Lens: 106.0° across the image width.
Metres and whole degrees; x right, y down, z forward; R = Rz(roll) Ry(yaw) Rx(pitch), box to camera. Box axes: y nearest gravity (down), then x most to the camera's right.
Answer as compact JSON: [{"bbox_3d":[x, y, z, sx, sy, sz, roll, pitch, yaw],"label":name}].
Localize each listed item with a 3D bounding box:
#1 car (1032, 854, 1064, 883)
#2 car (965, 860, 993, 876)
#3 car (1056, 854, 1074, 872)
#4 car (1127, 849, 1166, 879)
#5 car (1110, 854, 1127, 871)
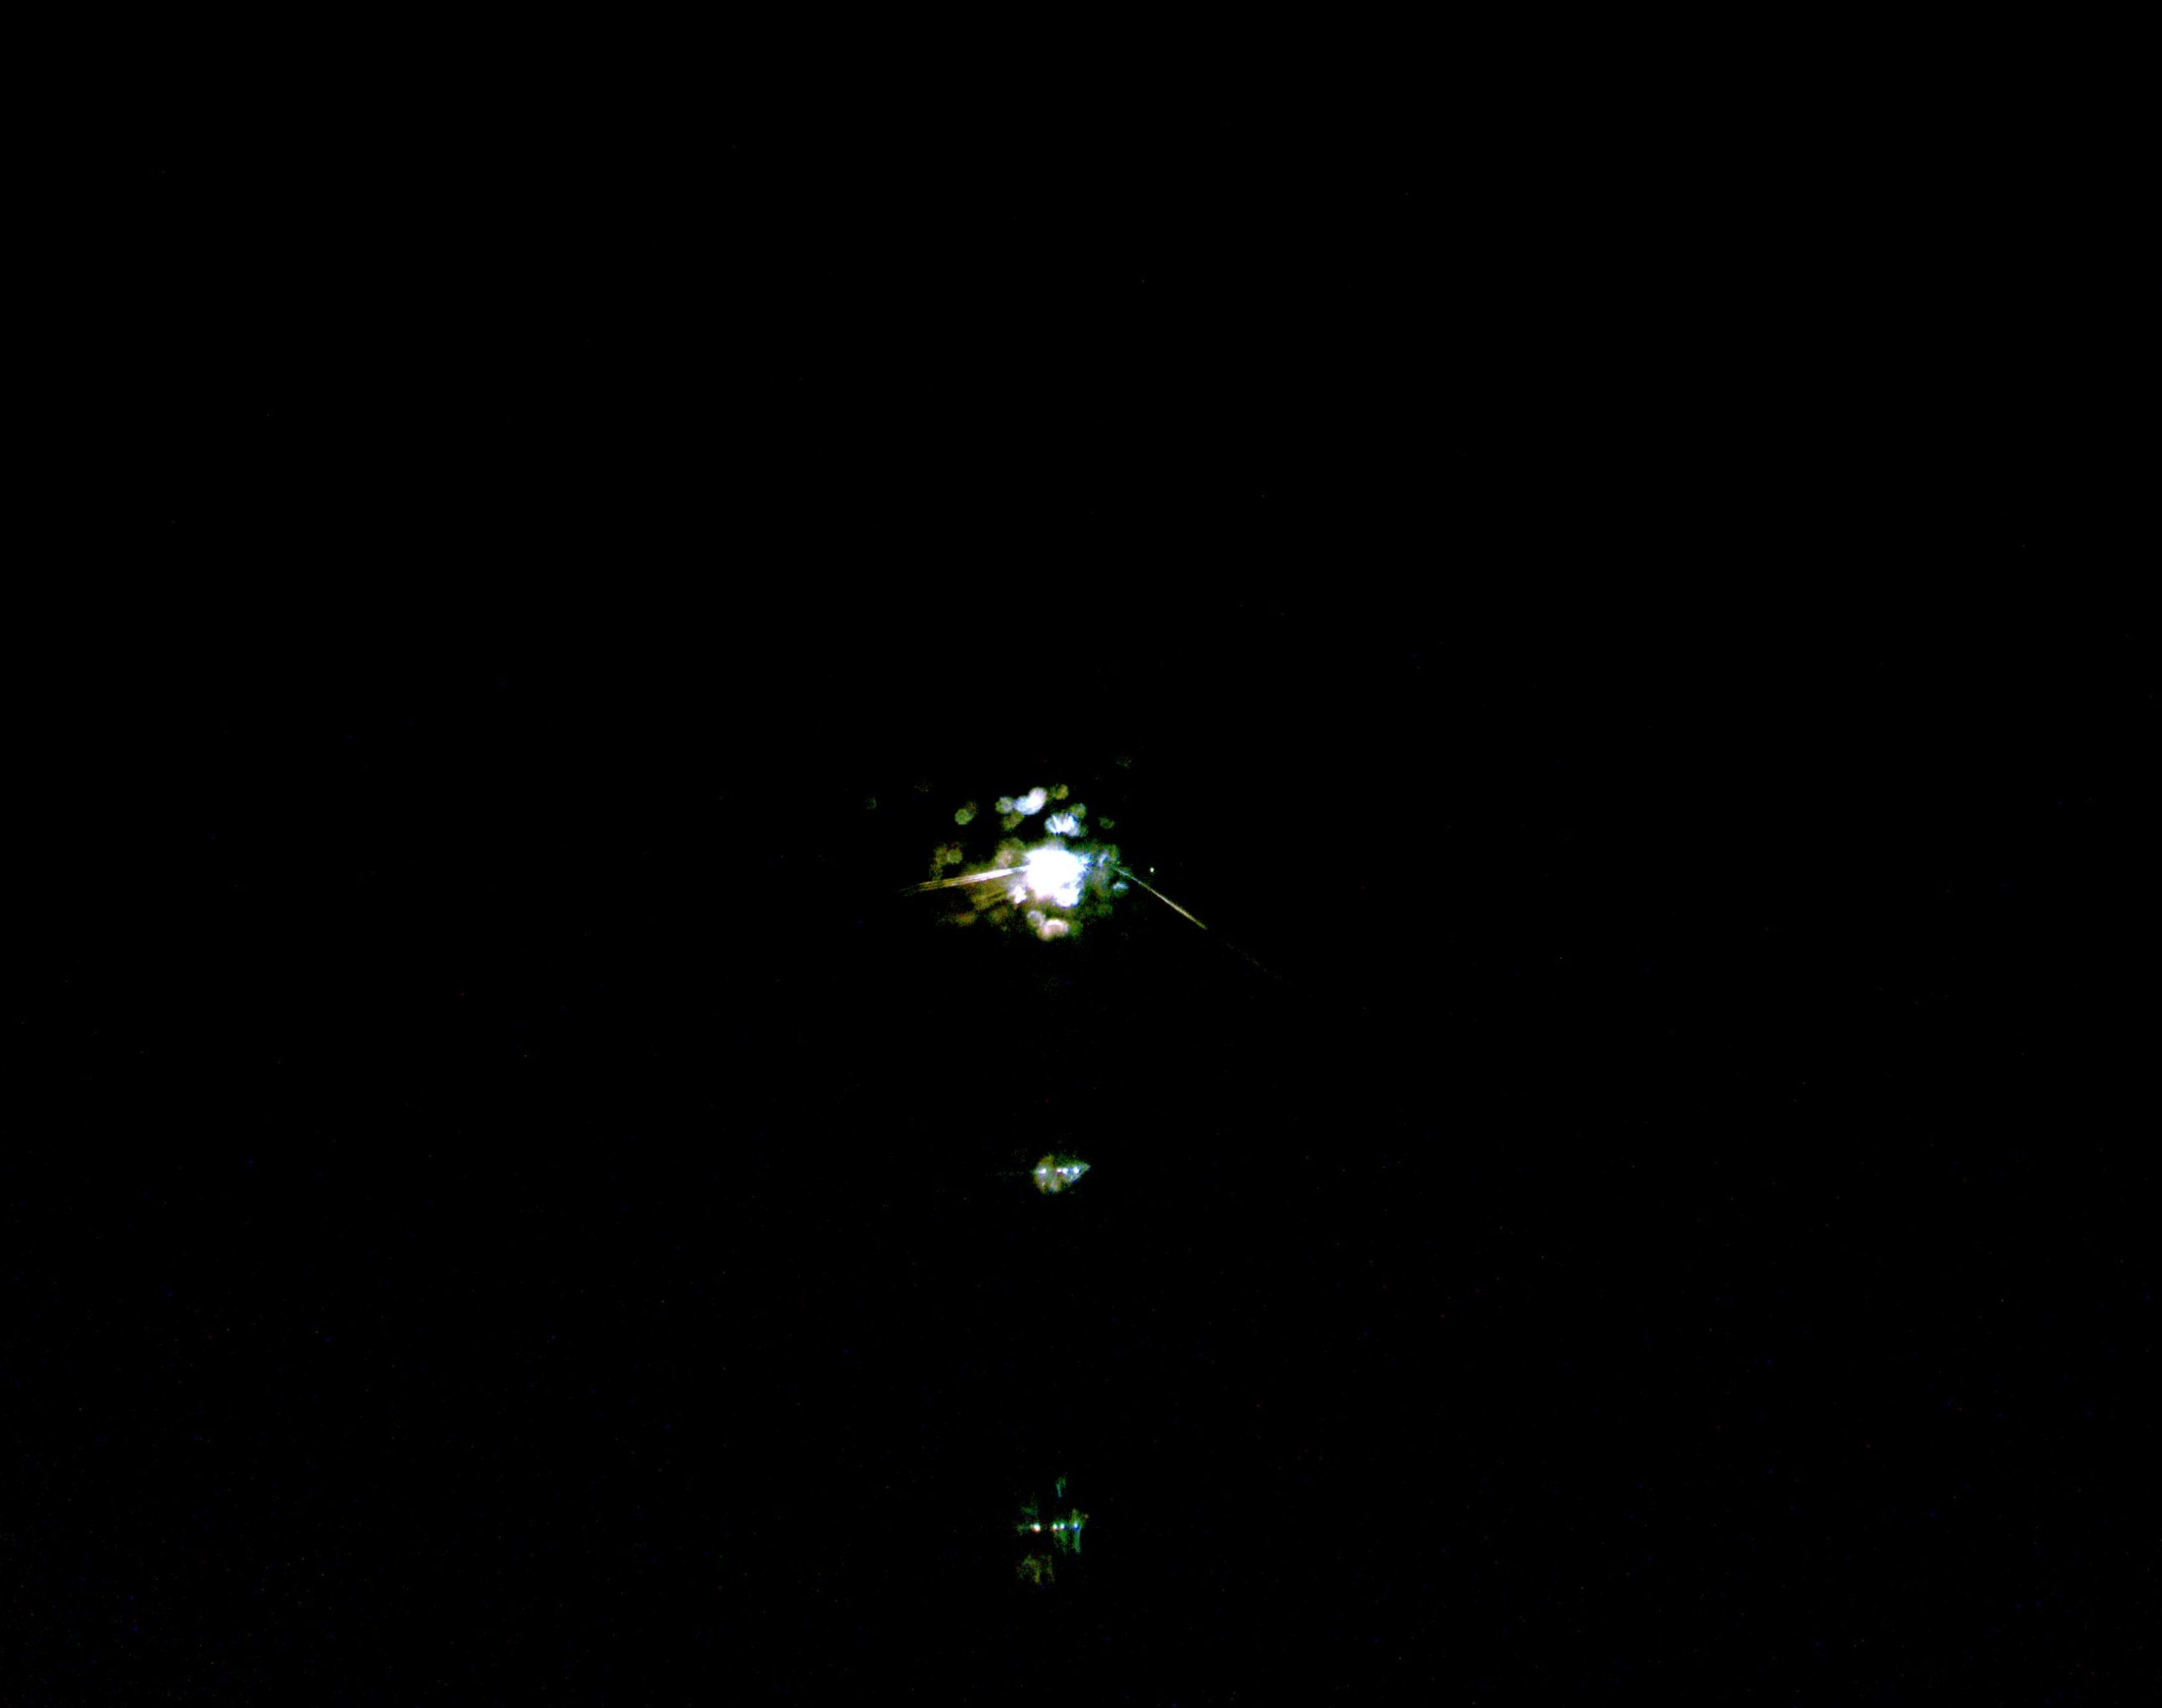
[{"bbox_3d":[-2.358,1.012,59.006,1.986,2.013,4.002,0,0,2],"label":"car"},{"bbox_3d":[-9.742,1.363,77.982,1.986,1.448,4.432,0,0,2],"label":"car"},{"bbox_3d":[-1.873,1.045,97.027,1.986,2.013,4.002,0,0,2],"label":"car"},{"bbox_3d":[3.741,0.534,46.887,1.986,1.618,4.001,-1,0,1],"label":"car"},{"bbox_3d":[4.486,1.018,97.051,1.986,2.013,4.002,0,0,2],"label":"car"}]
